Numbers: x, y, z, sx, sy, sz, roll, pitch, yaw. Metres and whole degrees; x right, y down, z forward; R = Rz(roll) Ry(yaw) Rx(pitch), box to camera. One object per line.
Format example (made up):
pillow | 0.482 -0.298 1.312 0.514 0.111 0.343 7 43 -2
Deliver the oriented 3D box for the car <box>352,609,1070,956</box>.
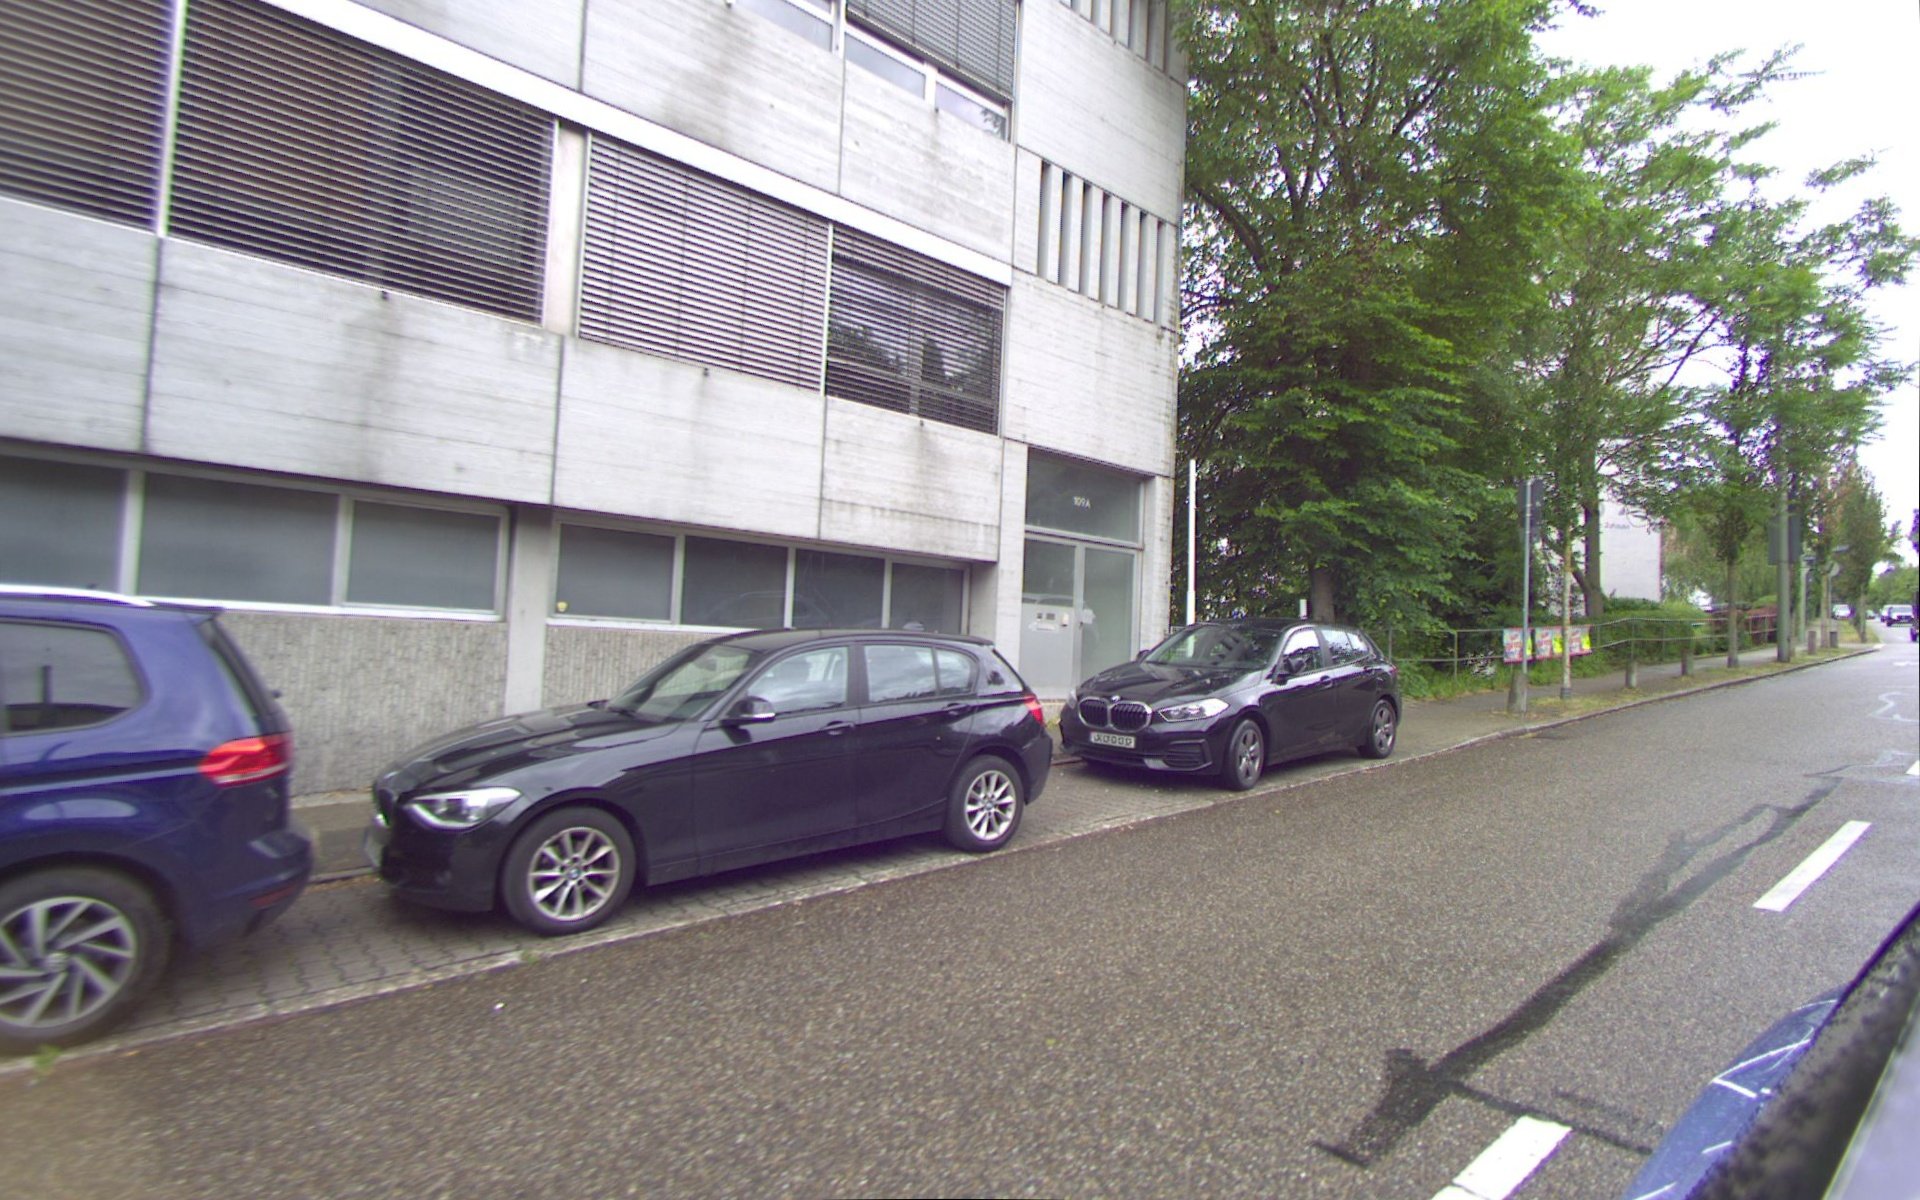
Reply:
car | -1.354 0.807 6.311 4.022 1.462 1.711 0 0 -38

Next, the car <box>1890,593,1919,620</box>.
car | 75.366 0.482 80.505 1.993 2.039 3.938 0 1 43

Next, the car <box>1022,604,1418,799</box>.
car | 2.701 0.803 9.991 4.084 1.462 1.841 0 1 -42

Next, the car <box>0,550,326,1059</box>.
car | -4.668 0.683 3.233 4.269 1.696 1.747 0 0 -42
